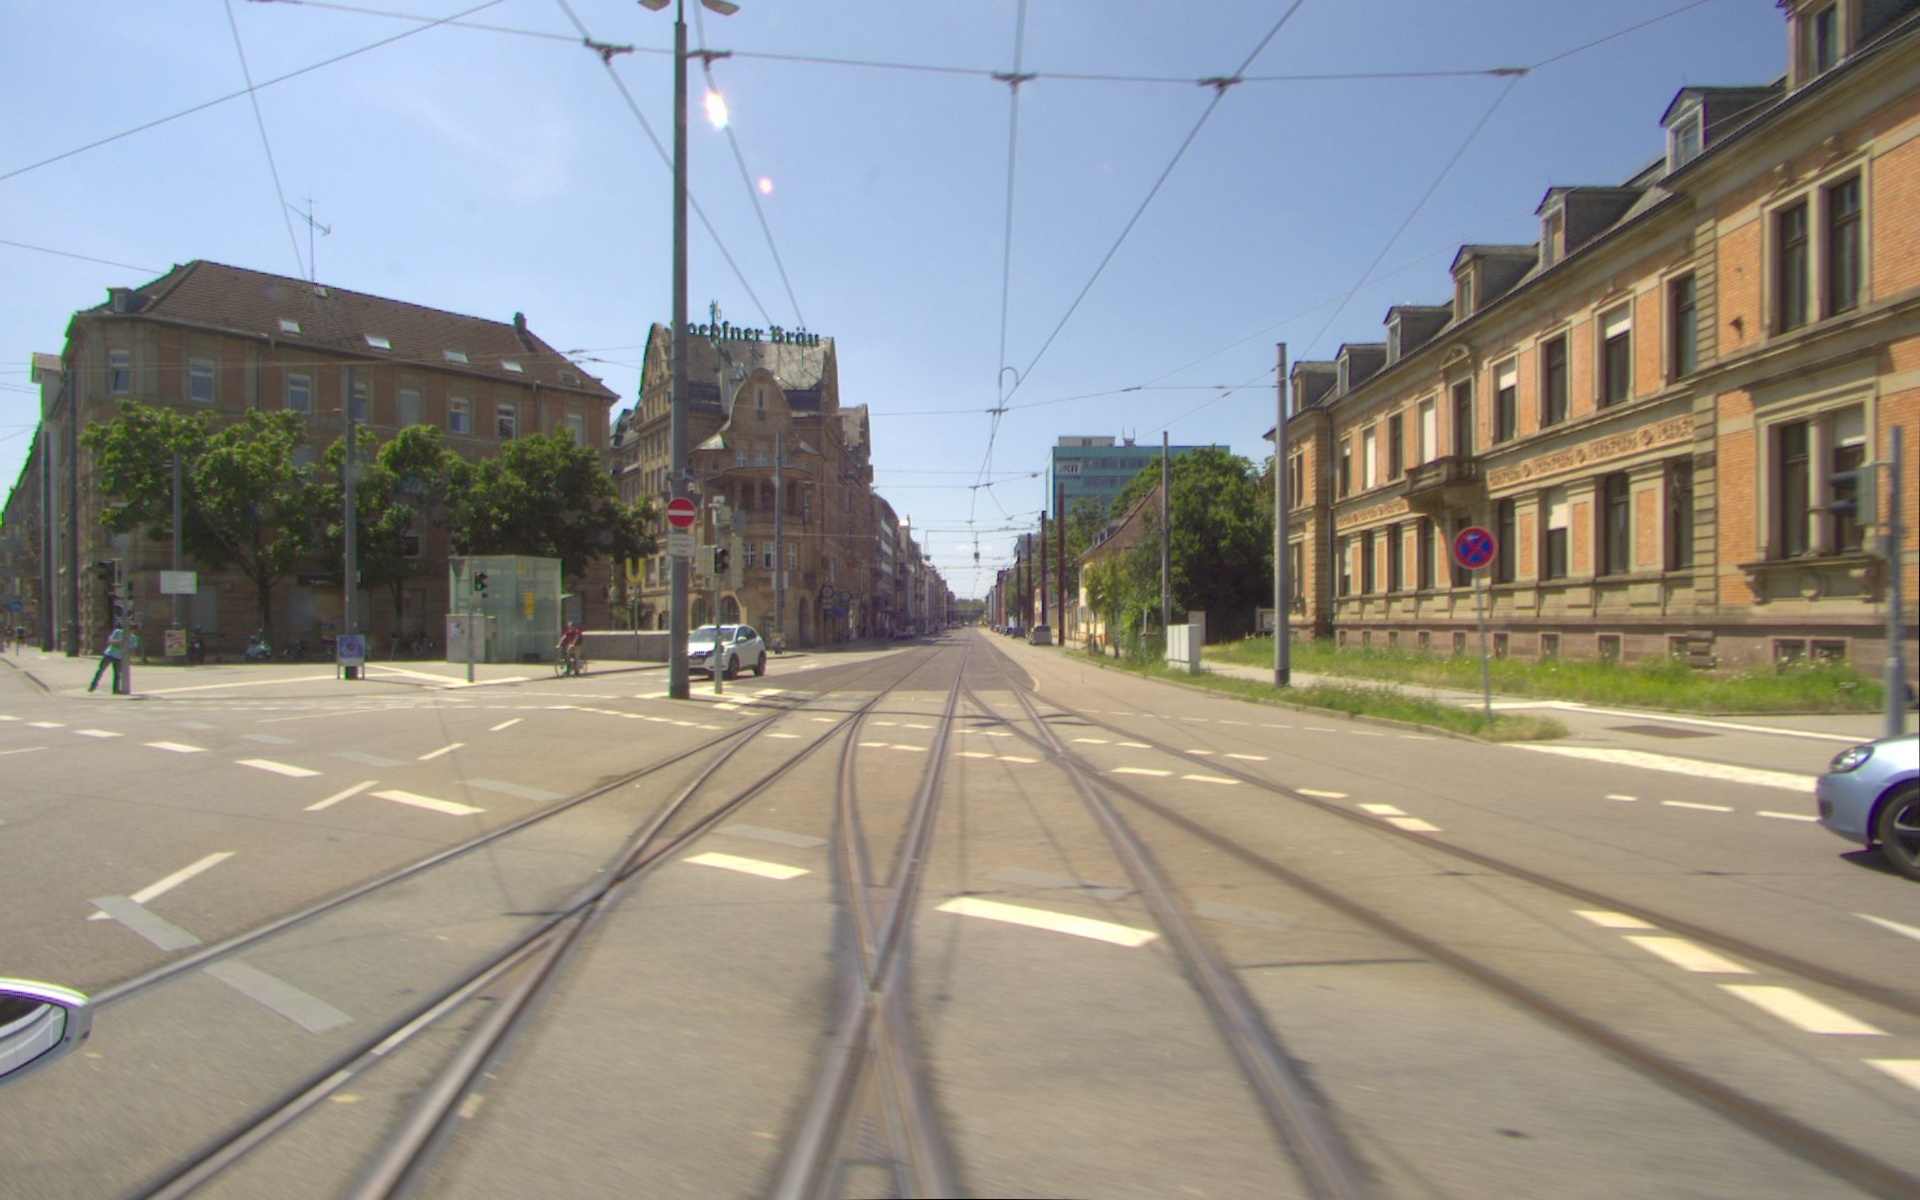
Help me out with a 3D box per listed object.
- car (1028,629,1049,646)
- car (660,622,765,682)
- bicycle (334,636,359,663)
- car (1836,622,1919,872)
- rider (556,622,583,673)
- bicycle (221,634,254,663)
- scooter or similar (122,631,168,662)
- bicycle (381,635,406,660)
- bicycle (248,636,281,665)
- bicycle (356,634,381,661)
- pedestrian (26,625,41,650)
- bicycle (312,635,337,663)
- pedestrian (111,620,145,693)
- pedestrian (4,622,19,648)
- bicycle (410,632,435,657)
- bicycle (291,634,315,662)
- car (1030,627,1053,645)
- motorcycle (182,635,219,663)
[{"bbox_3d":[7.444,3.592,95.199,1.961,1.470,4.004,0,-4,4],"label":"car"},{"bbox_3d":[-7.167,1.474,29.431,1.661,1.626,4.194,0,-1,6],"label":"car"},{"bbox_3d":[-26.447,2.114,43.178,0.547,1.134,1.871,1,-2,-44],"label":"bicycle"},{"bbox_3d":[7.051,0.832,4.800,1.630,1.477,3.993,2,-3,-23],"label":"car"},{"bbox_3d":[-12.688,1.541,32.545,0.553,1.622,0.875,0,-1,-2],"label":"rider"},{"bbox_3d":[-29.044,1.925,40.232,1.797,1.134,0.549,-1,-1,37],"label":"bicycle"},{"bbox_3d":[-32.496,1.853,39.936,0.588,1.196,1.792,0,-1,-9],"label":"scooter or similar"},{"bbox_3d":[-25.711,2.143,45.414,0.547,1.134,1.911,1,-1,-44],"label":"bicycle"},{"bbox_3d":[-28.588,2.073,41.155,2.067,1.159,0.441,-2,-4,37],"label":"bicycle"},{"bbox_3d":[-26.294,2.102,44.485,0.547,1.134,1.852,1,-1,-44],"label":"bicycle"},{"bbox_3d":[-74.327,3.014,80.317,0.657,2.038,0.764,-2,-4,42],"label":"pedestrian"},{"bbox_3d":[-27.021,2.070,42.557,0.547,1.134,1.803,1,-1,-44],"label":"bicycle"},{"bbox_3d":[-20.191,1.359,24.298,0.631,1.730,0.459,0,-1,35],"label":"pedestrian"},{"bbox_3d":[-75.308,2.759,79.510,0.657,2.038,0.764,-2,-4,42],"label":"pedestrian"},{"bbox_3d":[-24.807,2.029,46.203,0.547,1.134,1.803,1,-1,-44],"label":"bicycle"},{"bbox_3d":[-27.588,1.996,42.034,0.547,1.134,1.803,1,-1,-44],"label":"bicycle"},{"bbox_3d":[7.292,3.284,90.049,1.961,1.470,4.004,0,-4,4],"label":"car"},{"bbox_3d":[-29.763,1.908,39.248,1.919,1.088,0.579,-1,-1,34],"label":"motorcycle"}]
